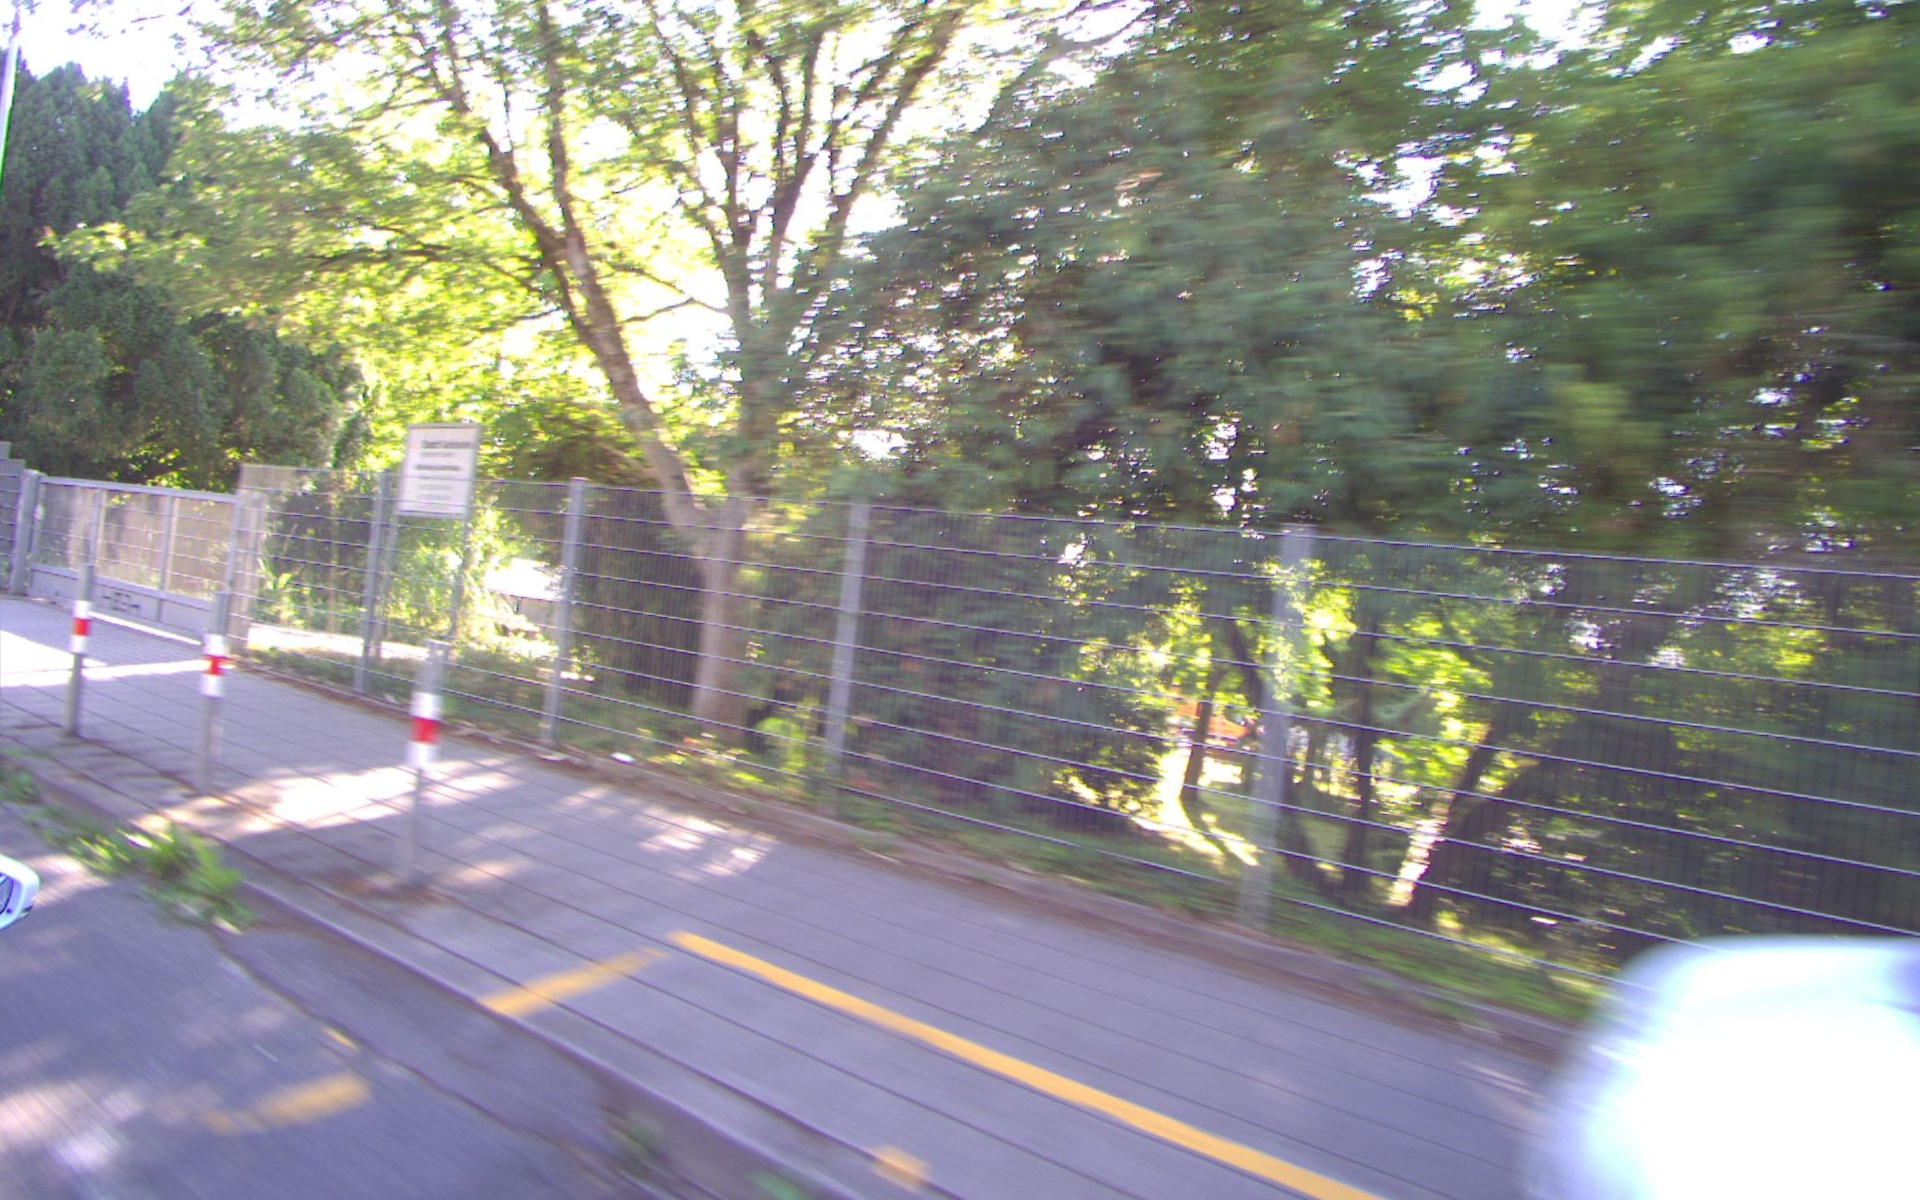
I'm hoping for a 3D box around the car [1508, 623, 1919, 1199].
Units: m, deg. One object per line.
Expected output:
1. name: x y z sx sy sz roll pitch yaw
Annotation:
1. car: 2.183 0.970 0.860 2.852 1.530 1.627 8 2 27
